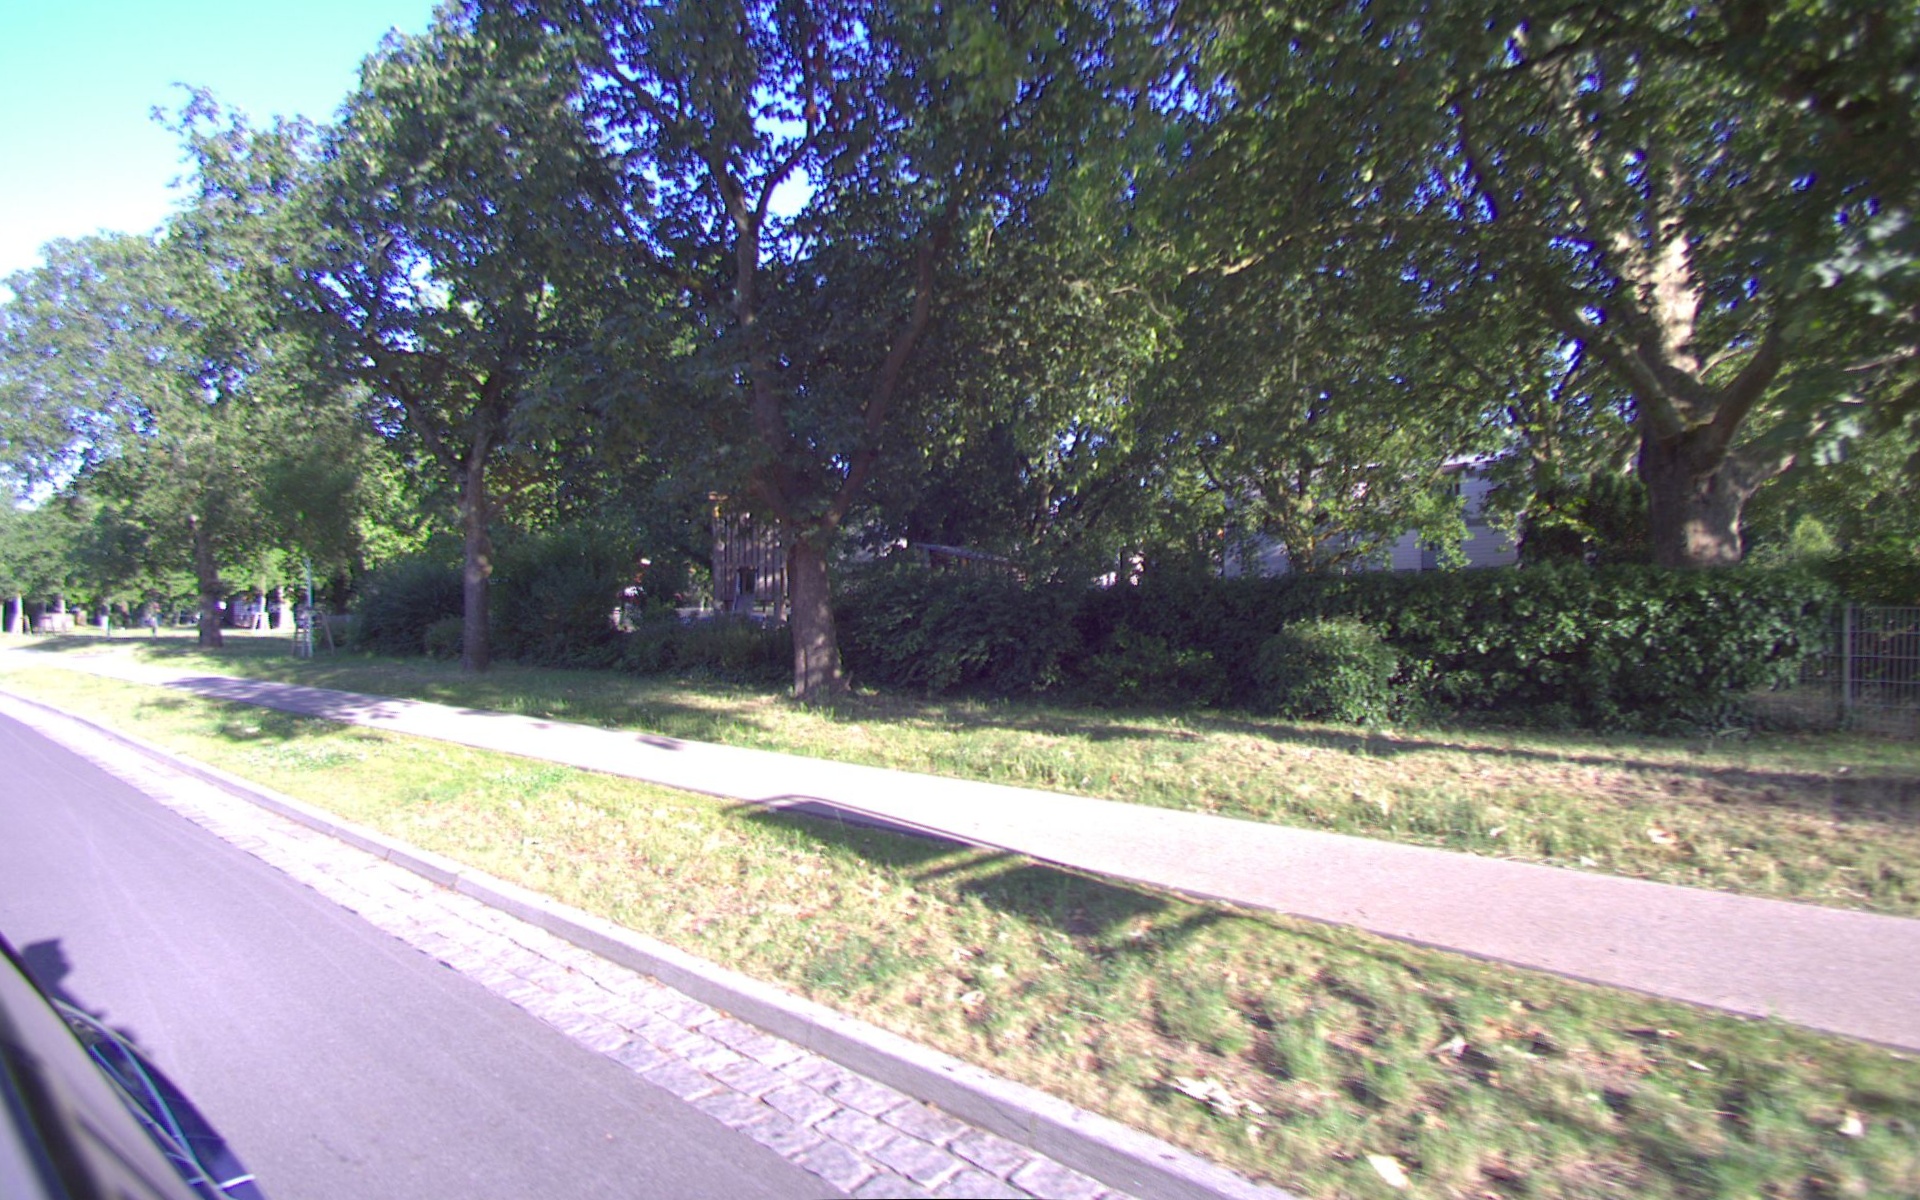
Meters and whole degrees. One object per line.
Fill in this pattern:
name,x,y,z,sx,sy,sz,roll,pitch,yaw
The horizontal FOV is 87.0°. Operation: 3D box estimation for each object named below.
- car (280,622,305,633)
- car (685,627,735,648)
car,-88.622,3.678,134.408,3.998,1.475,1.773,-2,-1,41
car,-17.506,2.632,70.841,3.791,1.378,1.506,-2,-2,41
